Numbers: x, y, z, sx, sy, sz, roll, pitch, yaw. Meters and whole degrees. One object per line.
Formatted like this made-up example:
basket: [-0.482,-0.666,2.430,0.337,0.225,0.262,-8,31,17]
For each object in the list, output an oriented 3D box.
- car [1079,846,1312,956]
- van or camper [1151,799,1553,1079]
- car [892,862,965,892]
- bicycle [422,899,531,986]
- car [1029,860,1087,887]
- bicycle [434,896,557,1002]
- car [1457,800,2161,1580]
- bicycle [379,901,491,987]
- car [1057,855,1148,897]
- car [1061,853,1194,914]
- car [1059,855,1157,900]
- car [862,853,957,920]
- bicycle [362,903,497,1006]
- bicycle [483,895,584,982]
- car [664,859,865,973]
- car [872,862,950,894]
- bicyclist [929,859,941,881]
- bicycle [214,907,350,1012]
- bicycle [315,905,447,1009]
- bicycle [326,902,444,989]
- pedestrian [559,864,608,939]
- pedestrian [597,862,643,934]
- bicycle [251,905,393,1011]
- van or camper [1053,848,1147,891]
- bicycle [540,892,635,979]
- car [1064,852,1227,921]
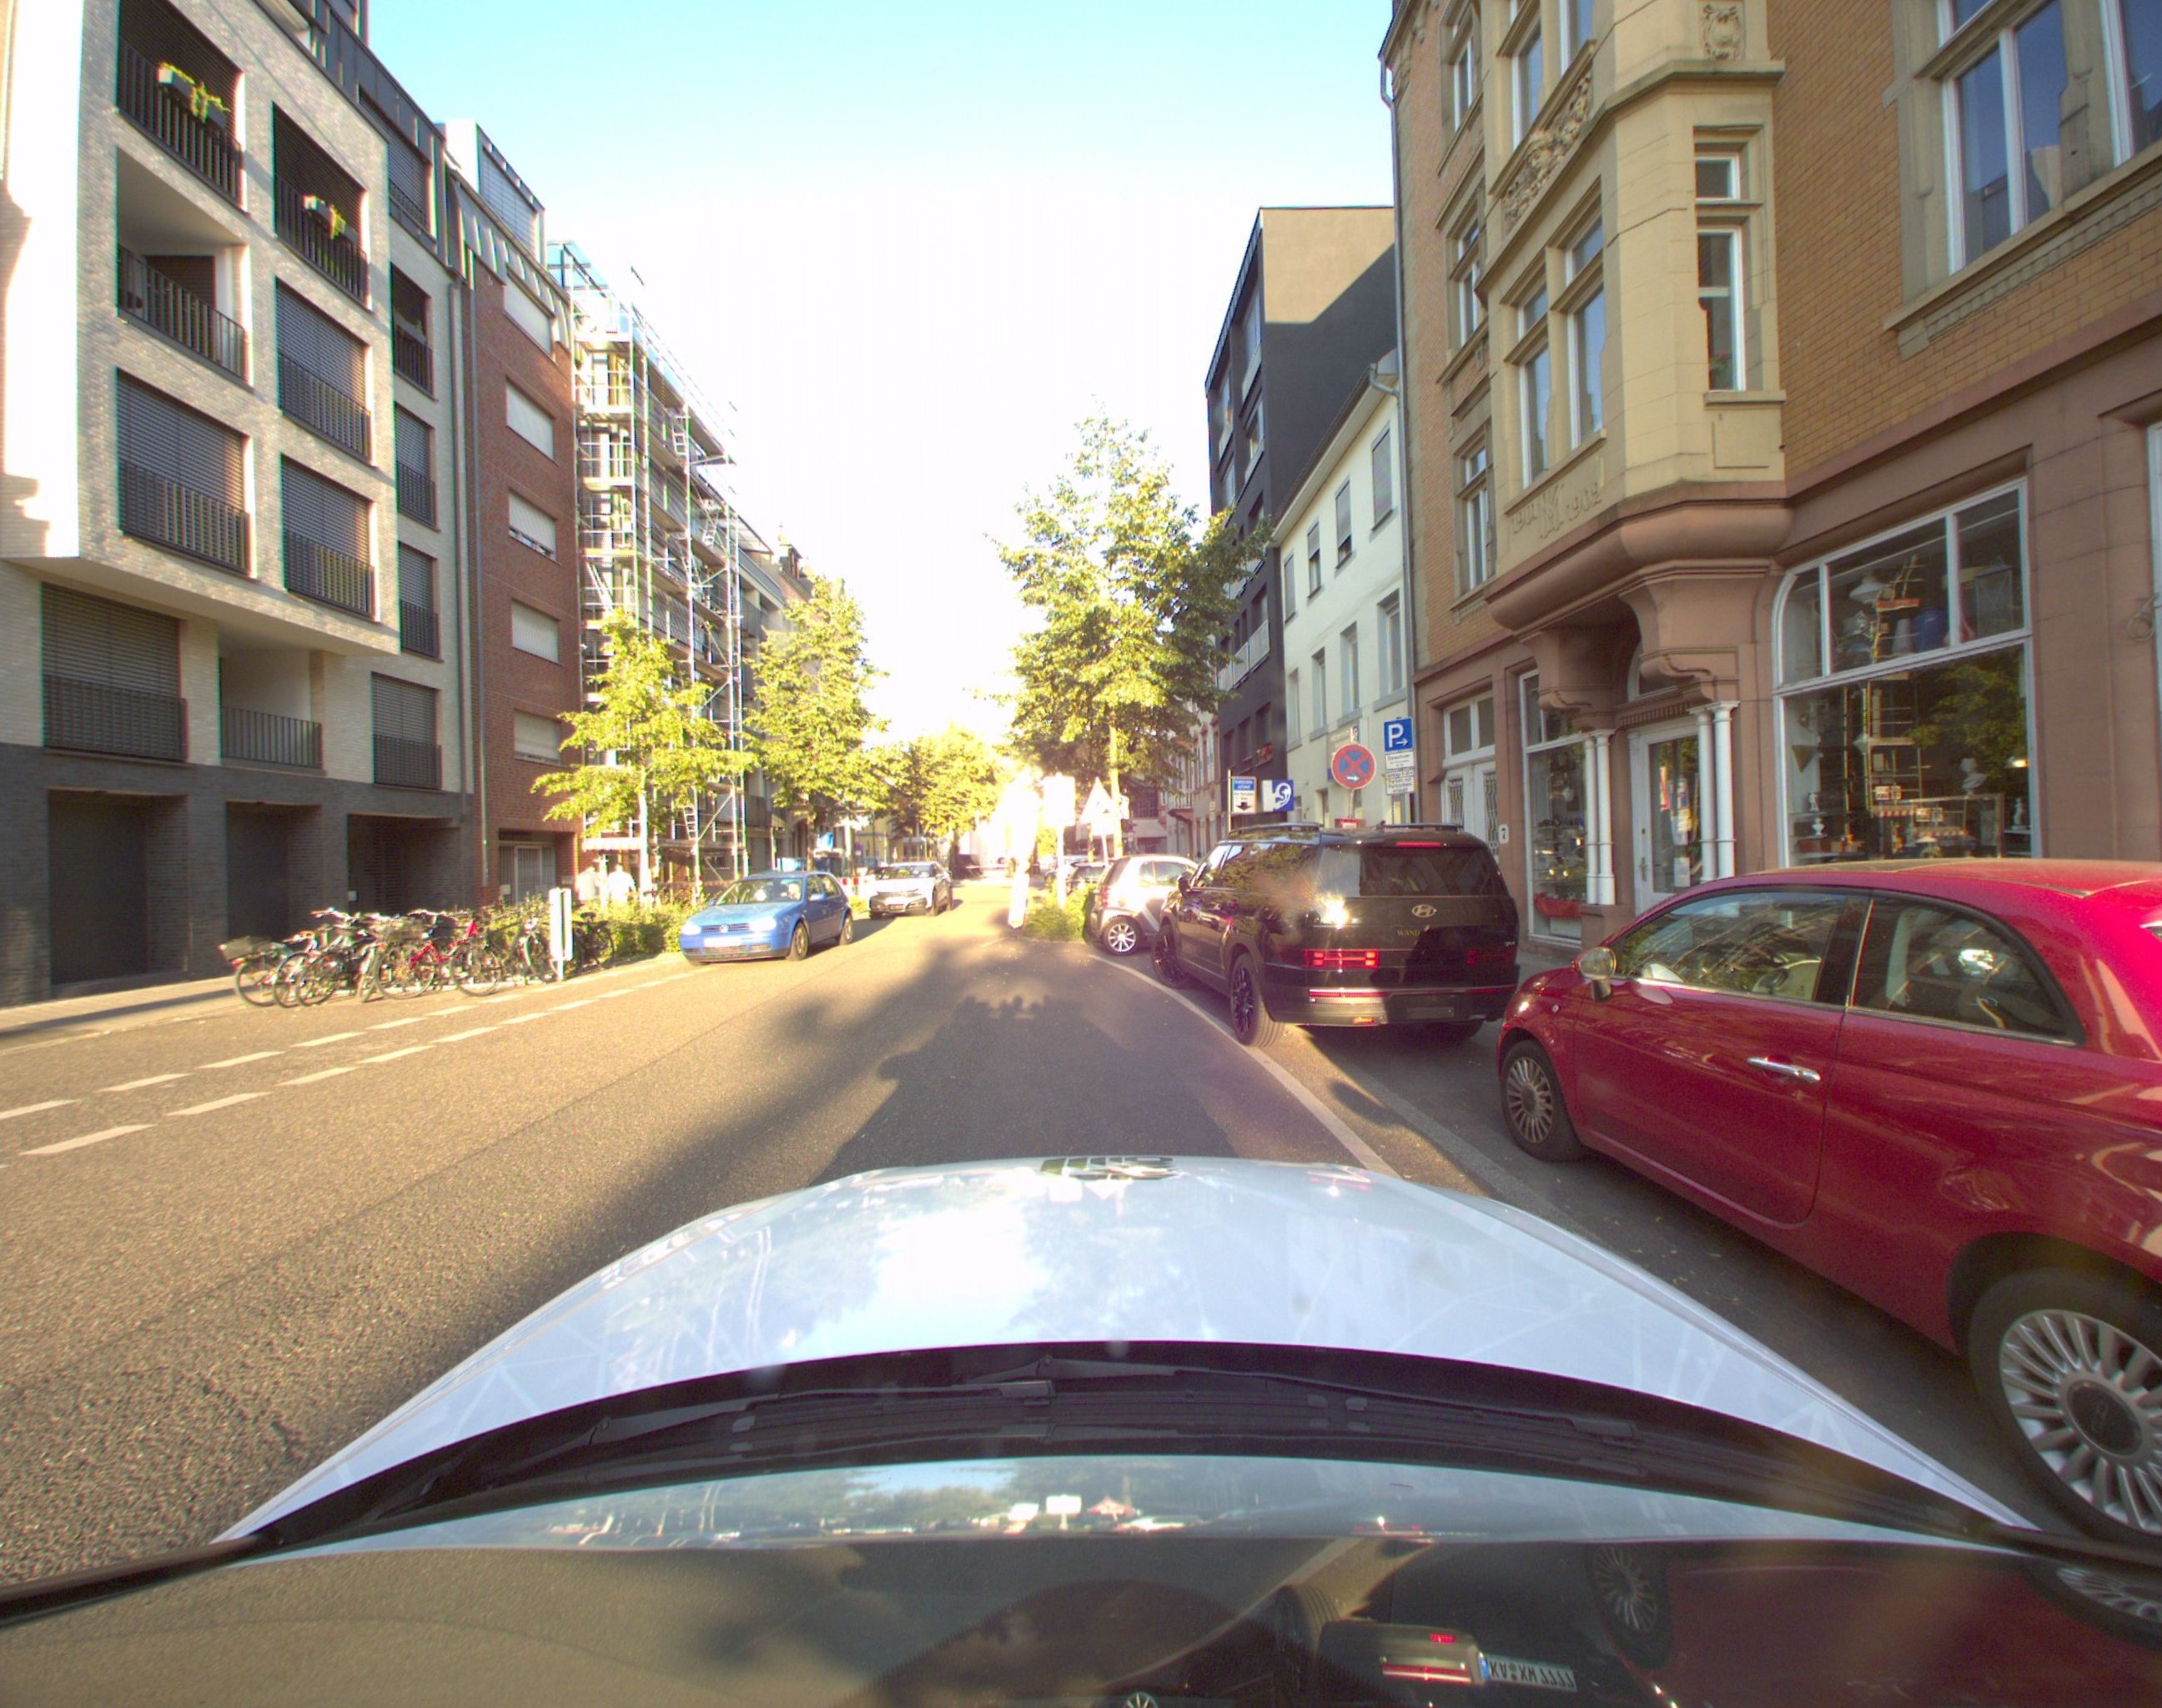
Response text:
car: [1.821,0.714,13.378,3.470,1.575,1.502,-2,0,-10]
van or camper: [2.027,0.556,7.651,1.887,1.807,4.450,-1,0,-6]
car: [-9.179,1.383,49.137,3.973,1.684,1.891,-1,0,1]
bicycle: [-9.140,1.304,12.374,0.486,1.149,1.551,-2,0,-1]
car: [-1.401,1.193,50.946,1.834,1.568,3.720,-1,0,32]
bicycle: [-7.705,1.207,10.795,0.496,1.220,1.551,-2,0,-1]
car: [2.941,0.671,3.031,1.520,1.570,3.422,-1,0,0]
bicycle: [-9.837,1.338,12.466,0.466,1.144,1.551,-2,0,-1]
car: [0.842,0.902,34.186,3.677,1.670,1.856,0,0,-4]
car: [1.289,0.815,23.651,3.677,1.670,1.856,0,0,-4]
car: [1.007,0.878,31.708,3.677,1.670,1.856,0,0,-4]
car: [-4.997,0.884,24.281,1.867,1.697,4.319,-4,0,-1]
bicycle: [-8.543,1.281,10.752,0.415,1.157,1.554,-2,0,4]
bicycle: [-8.379,1.255,12.536,0.486,1.163,1.551,-2,0,-1]
car: [-5.155,0.915,13.922,1.682,1.563,4.119,-3,0,1]
car: [-9.667,1.364,46.446,3.973,1.684,1.891,-1,0,1]
bicyclist: [-10.525,1.142,58.757,0.761,1.606,0.497,-2,0,-10]
bicycle: [-10.406,1.340,10.666,0.386,1.183,1.405,-2,0,-1]
bicycle: [-9.105,1.300,10.670,0.379,1.159,1.551,-2,0,-1]
bicycle: [-10.535,1.350,12.392,0.456,1.132,1.551,-2,0,-1]
pedestrian: [-12.245,1.145,20.054,0.739,1.783,0.656,-2,-1,-1]
pedestrian: [-11.743,1.103,20.760,0.739,1.783,0.656,-2,-1,-3]
bicycle: [-9.867,1.307,10.659,0.385,1.189,1.551,-2,0,-1]
van or camper: [0.861,0.722,39.276,4.430,2.005,1.856,0,-1,-4]
bicycle: [-7.575,1.218,12.572,0.506,1.179,1.551,-2,0,-1]
car: [1.593,0.811,20.994,3.987,1.670,1.856,0,0,-4]
